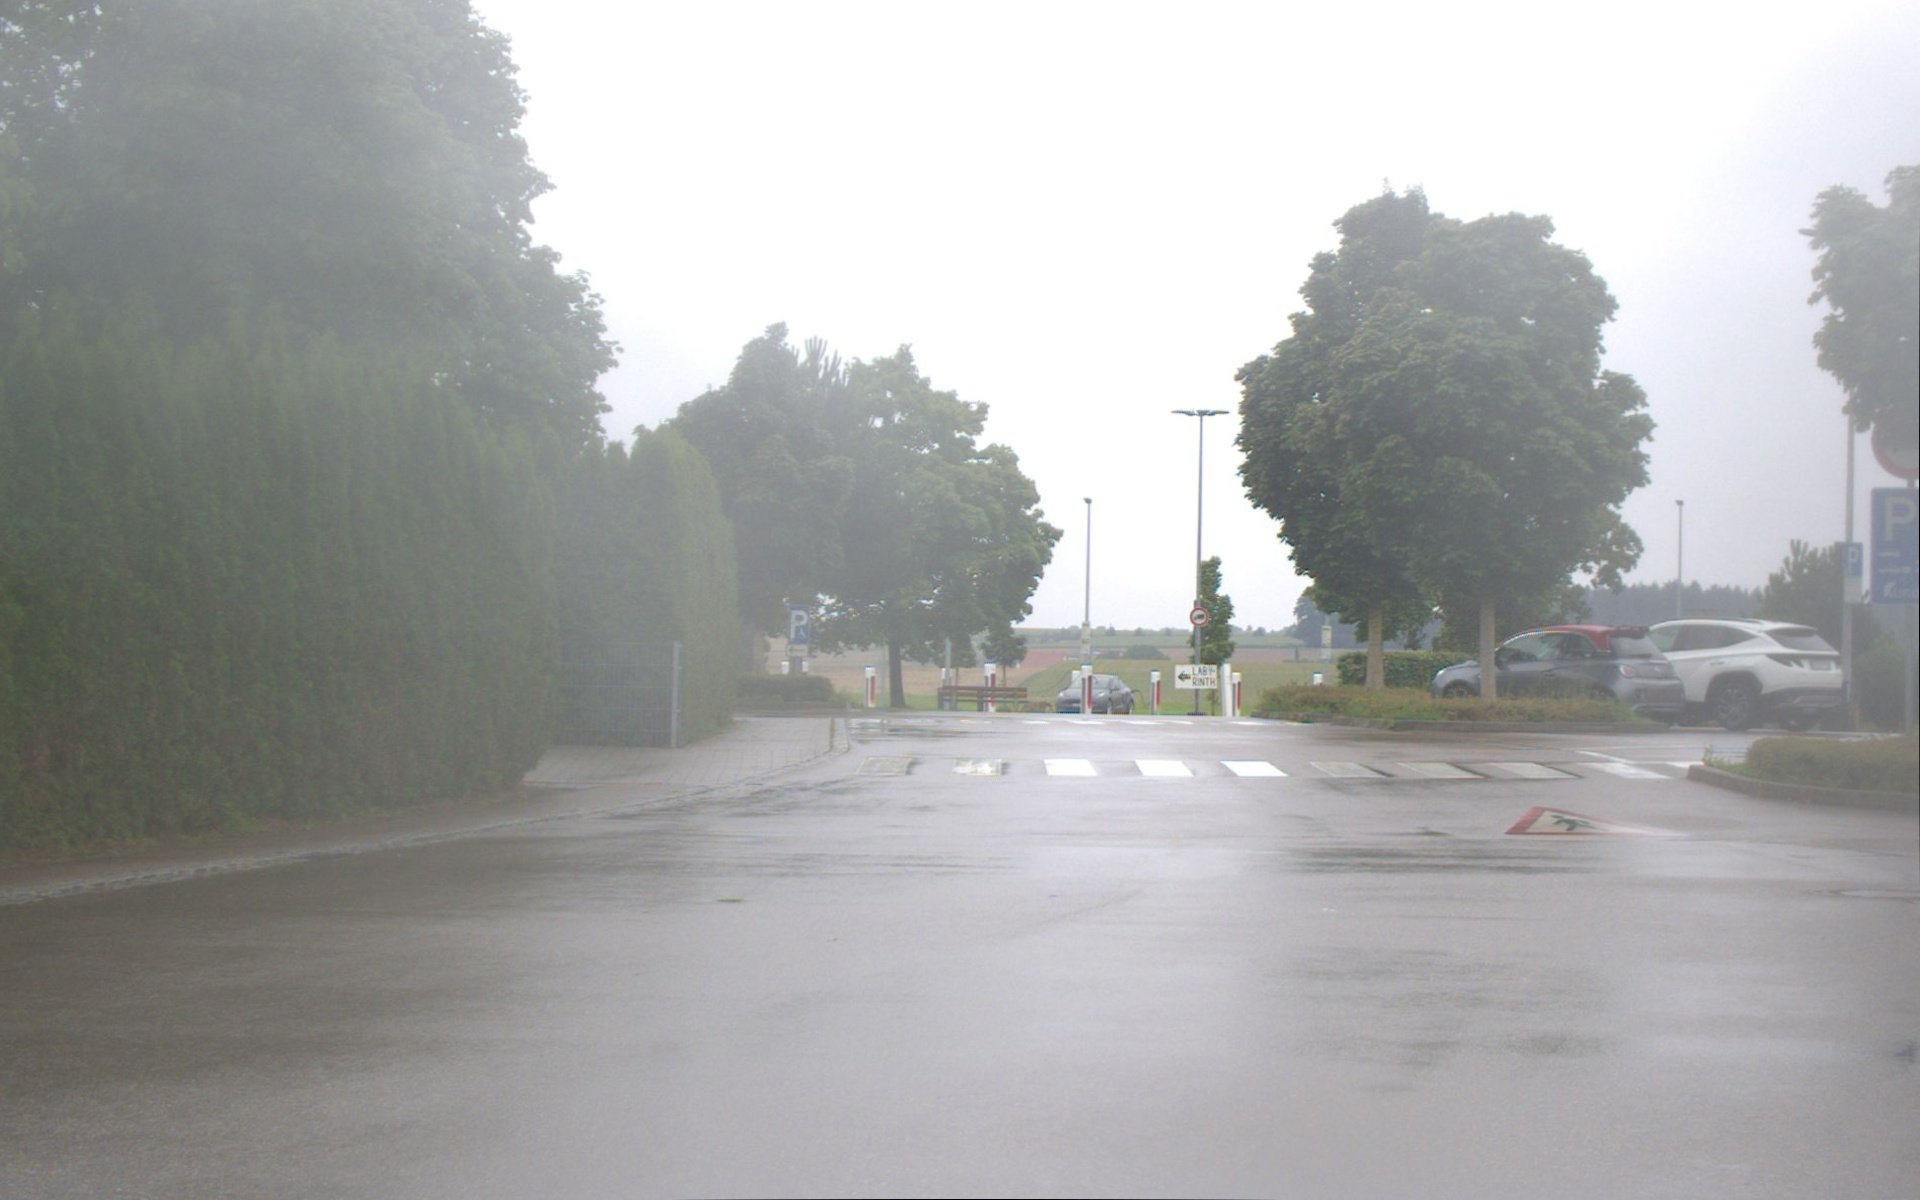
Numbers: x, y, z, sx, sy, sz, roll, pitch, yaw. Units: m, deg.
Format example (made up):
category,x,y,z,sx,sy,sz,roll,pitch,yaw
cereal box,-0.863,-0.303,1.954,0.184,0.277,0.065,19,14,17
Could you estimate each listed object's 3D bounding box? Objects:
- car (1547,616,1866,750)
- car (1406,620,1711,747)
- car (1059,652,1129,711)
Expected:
category,x,y,z,sx,sy,sz,roll,pitch,yaw
car,10.975,1.205,50.744,1.715,1.856,4.366,4,-3,-43
car,8.497,1.174,49.023,1.715,1.710,4.024,4,-3,-43
car,4.867,2.950,124.387,1.704,2.007,3.997,2,-2,13
